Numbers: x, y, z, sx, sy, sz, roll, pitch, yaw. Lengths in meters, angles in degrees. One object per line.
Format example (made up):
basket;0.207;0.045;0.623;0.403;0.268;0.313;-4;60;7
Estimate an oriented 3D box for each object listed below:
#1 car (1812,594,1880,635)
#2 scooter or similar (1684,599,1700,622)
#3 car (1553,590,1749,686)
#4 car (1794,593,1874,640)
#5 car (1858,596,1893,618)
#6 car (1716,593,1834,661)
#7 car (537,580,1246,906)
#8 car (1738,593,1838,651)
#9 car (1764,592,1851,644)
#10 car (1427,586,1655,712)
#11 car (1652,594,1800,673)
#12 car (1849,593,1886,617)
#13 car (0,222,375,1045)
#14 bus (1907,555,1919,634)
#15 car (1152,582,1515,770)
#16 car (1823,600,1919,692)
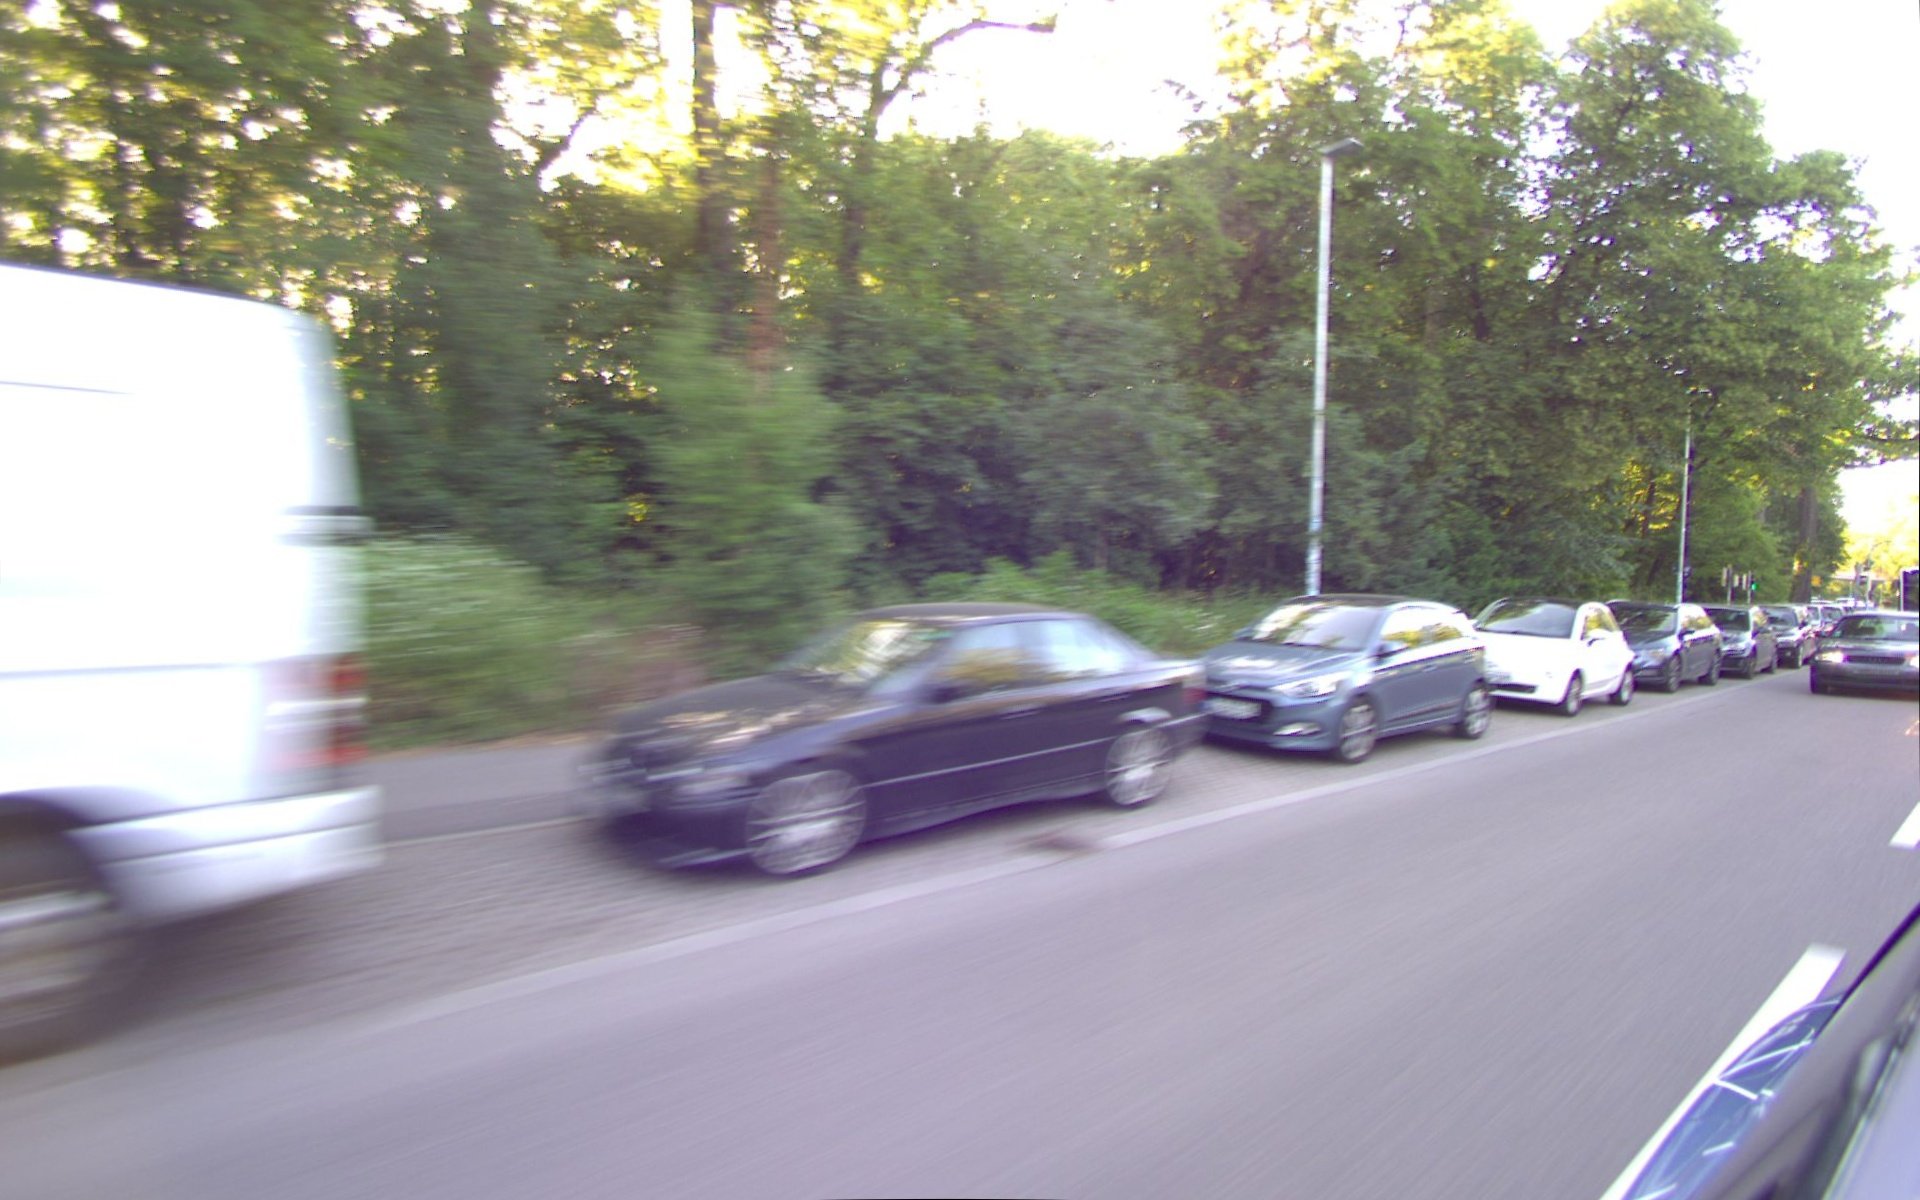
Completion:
car;35.400;0.535;40.408;3.695;1.487;1.719;-1;3;-44
scooter or similar;37.461;0.517;51.784;1.201;1.158;0.379;0;1;-40
car;12.364;0.574;17.973;4.822;1.429;1.721;-1;3;-42
car;31.005;0.522;35.855;4.906;1.487;1.719;-1;3;-45
car;66.866;0.471;73.861;1.762;1.487;5.037;3;3;43
car;20.029;0.583;24.801;4.414;1.429;1.719;-1;3;-45
car;-0.161;0.615;6.678;4.569;1.418;1.681;0;3;-41
car;23.251;0.551;28.379;4.057;1.429;1.719;-1;3;-45
car;27.091;0.528;32.311;4.134;1.487;1.719;-1;3;-45
car;8.231;0.577;14.224;3.625;1.482;1.681;0;3;-42
car;16.190;0.623;21.313;4.412;1.429;1.720;-1;3;-43
car;62.739;0.334;70.040;1.716;1.487;3.818;3;3;40
car;-4.814;0.079;2.628;5.476;2.453;1.909;0;2;-40
bus;42.665;-0.220;43.254;2.806;3.086;12.676;1;0;45
car;3.876;0.599;10.192;3.995;1.482;1.681;0;3;-41
car;16.072;0.714;17.200;3.926;1.376;1.677;0;1;-42
